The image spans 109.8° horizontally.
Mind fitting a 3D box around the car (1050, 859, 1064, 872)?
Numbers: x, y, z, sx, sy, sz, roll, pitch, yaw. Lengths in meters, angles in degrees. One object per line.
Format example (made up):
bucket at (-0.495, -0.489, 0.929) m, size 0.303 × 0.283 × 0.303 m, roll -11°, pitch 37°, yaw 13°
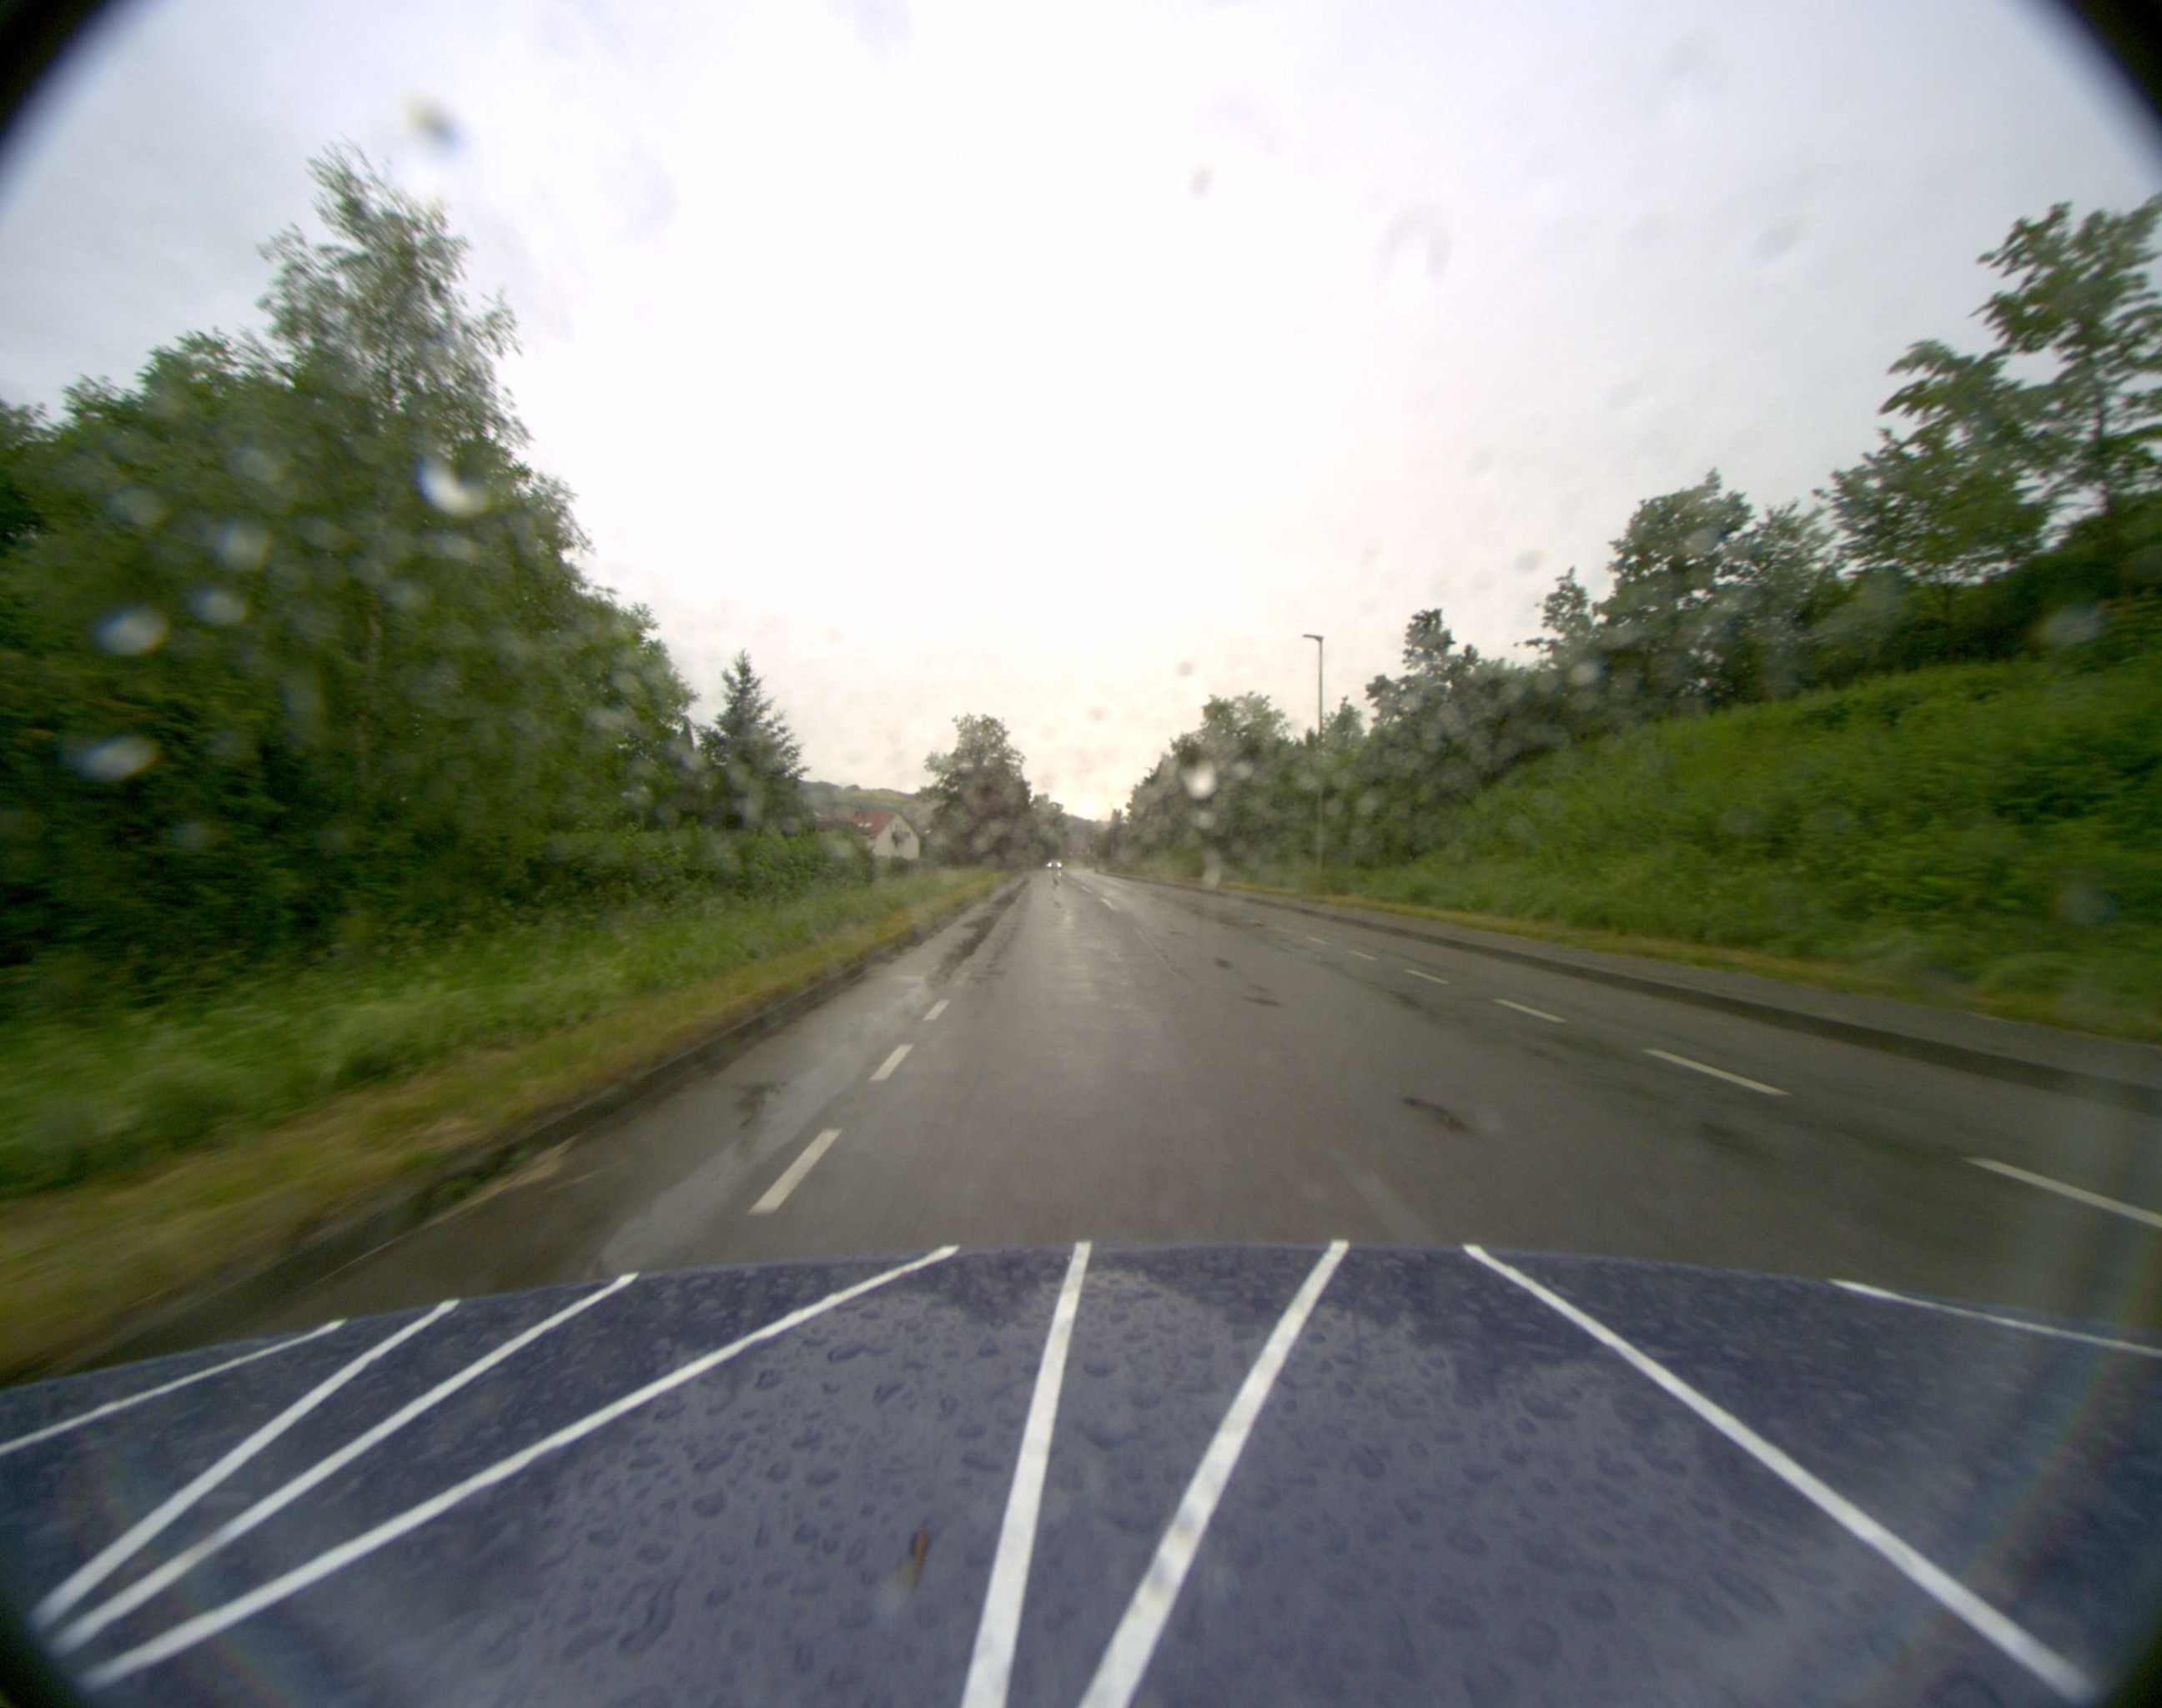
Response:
car at (-3.386, 1.611, 106.860) m, size 1.999 × 1.831 × 3.999 m, roll 0°, pitch 0°, yaw -2°
